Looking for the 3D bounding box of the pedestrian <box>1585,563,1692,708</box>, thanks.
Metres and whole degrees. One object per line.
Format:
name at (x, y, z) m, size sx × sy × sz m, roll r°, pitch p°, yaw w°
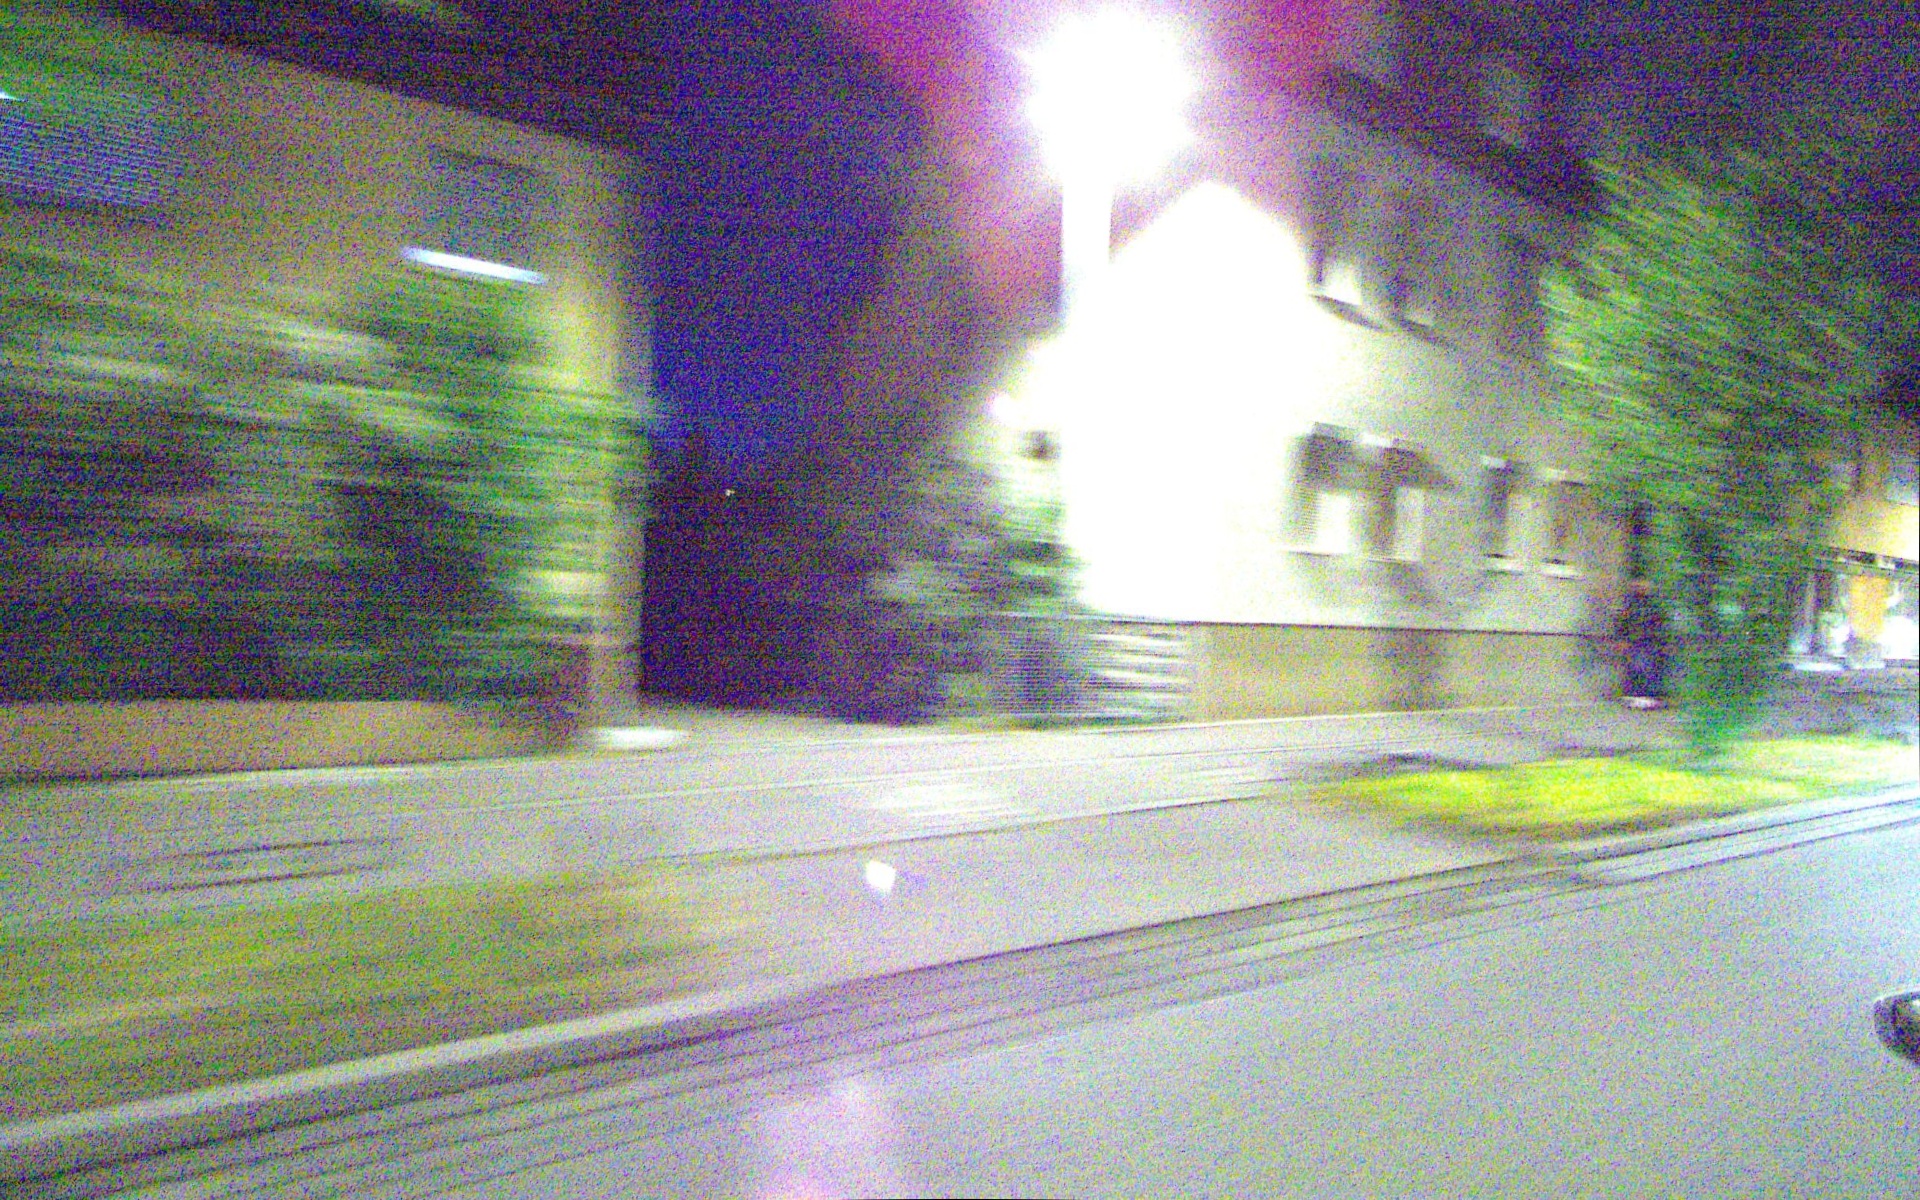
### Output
pedestrian at (9.981, 0.499, 14.789) m, size 1.190 × 2.041 × 0.781 m, roll 1°, pitch 2°, yaw -30°
